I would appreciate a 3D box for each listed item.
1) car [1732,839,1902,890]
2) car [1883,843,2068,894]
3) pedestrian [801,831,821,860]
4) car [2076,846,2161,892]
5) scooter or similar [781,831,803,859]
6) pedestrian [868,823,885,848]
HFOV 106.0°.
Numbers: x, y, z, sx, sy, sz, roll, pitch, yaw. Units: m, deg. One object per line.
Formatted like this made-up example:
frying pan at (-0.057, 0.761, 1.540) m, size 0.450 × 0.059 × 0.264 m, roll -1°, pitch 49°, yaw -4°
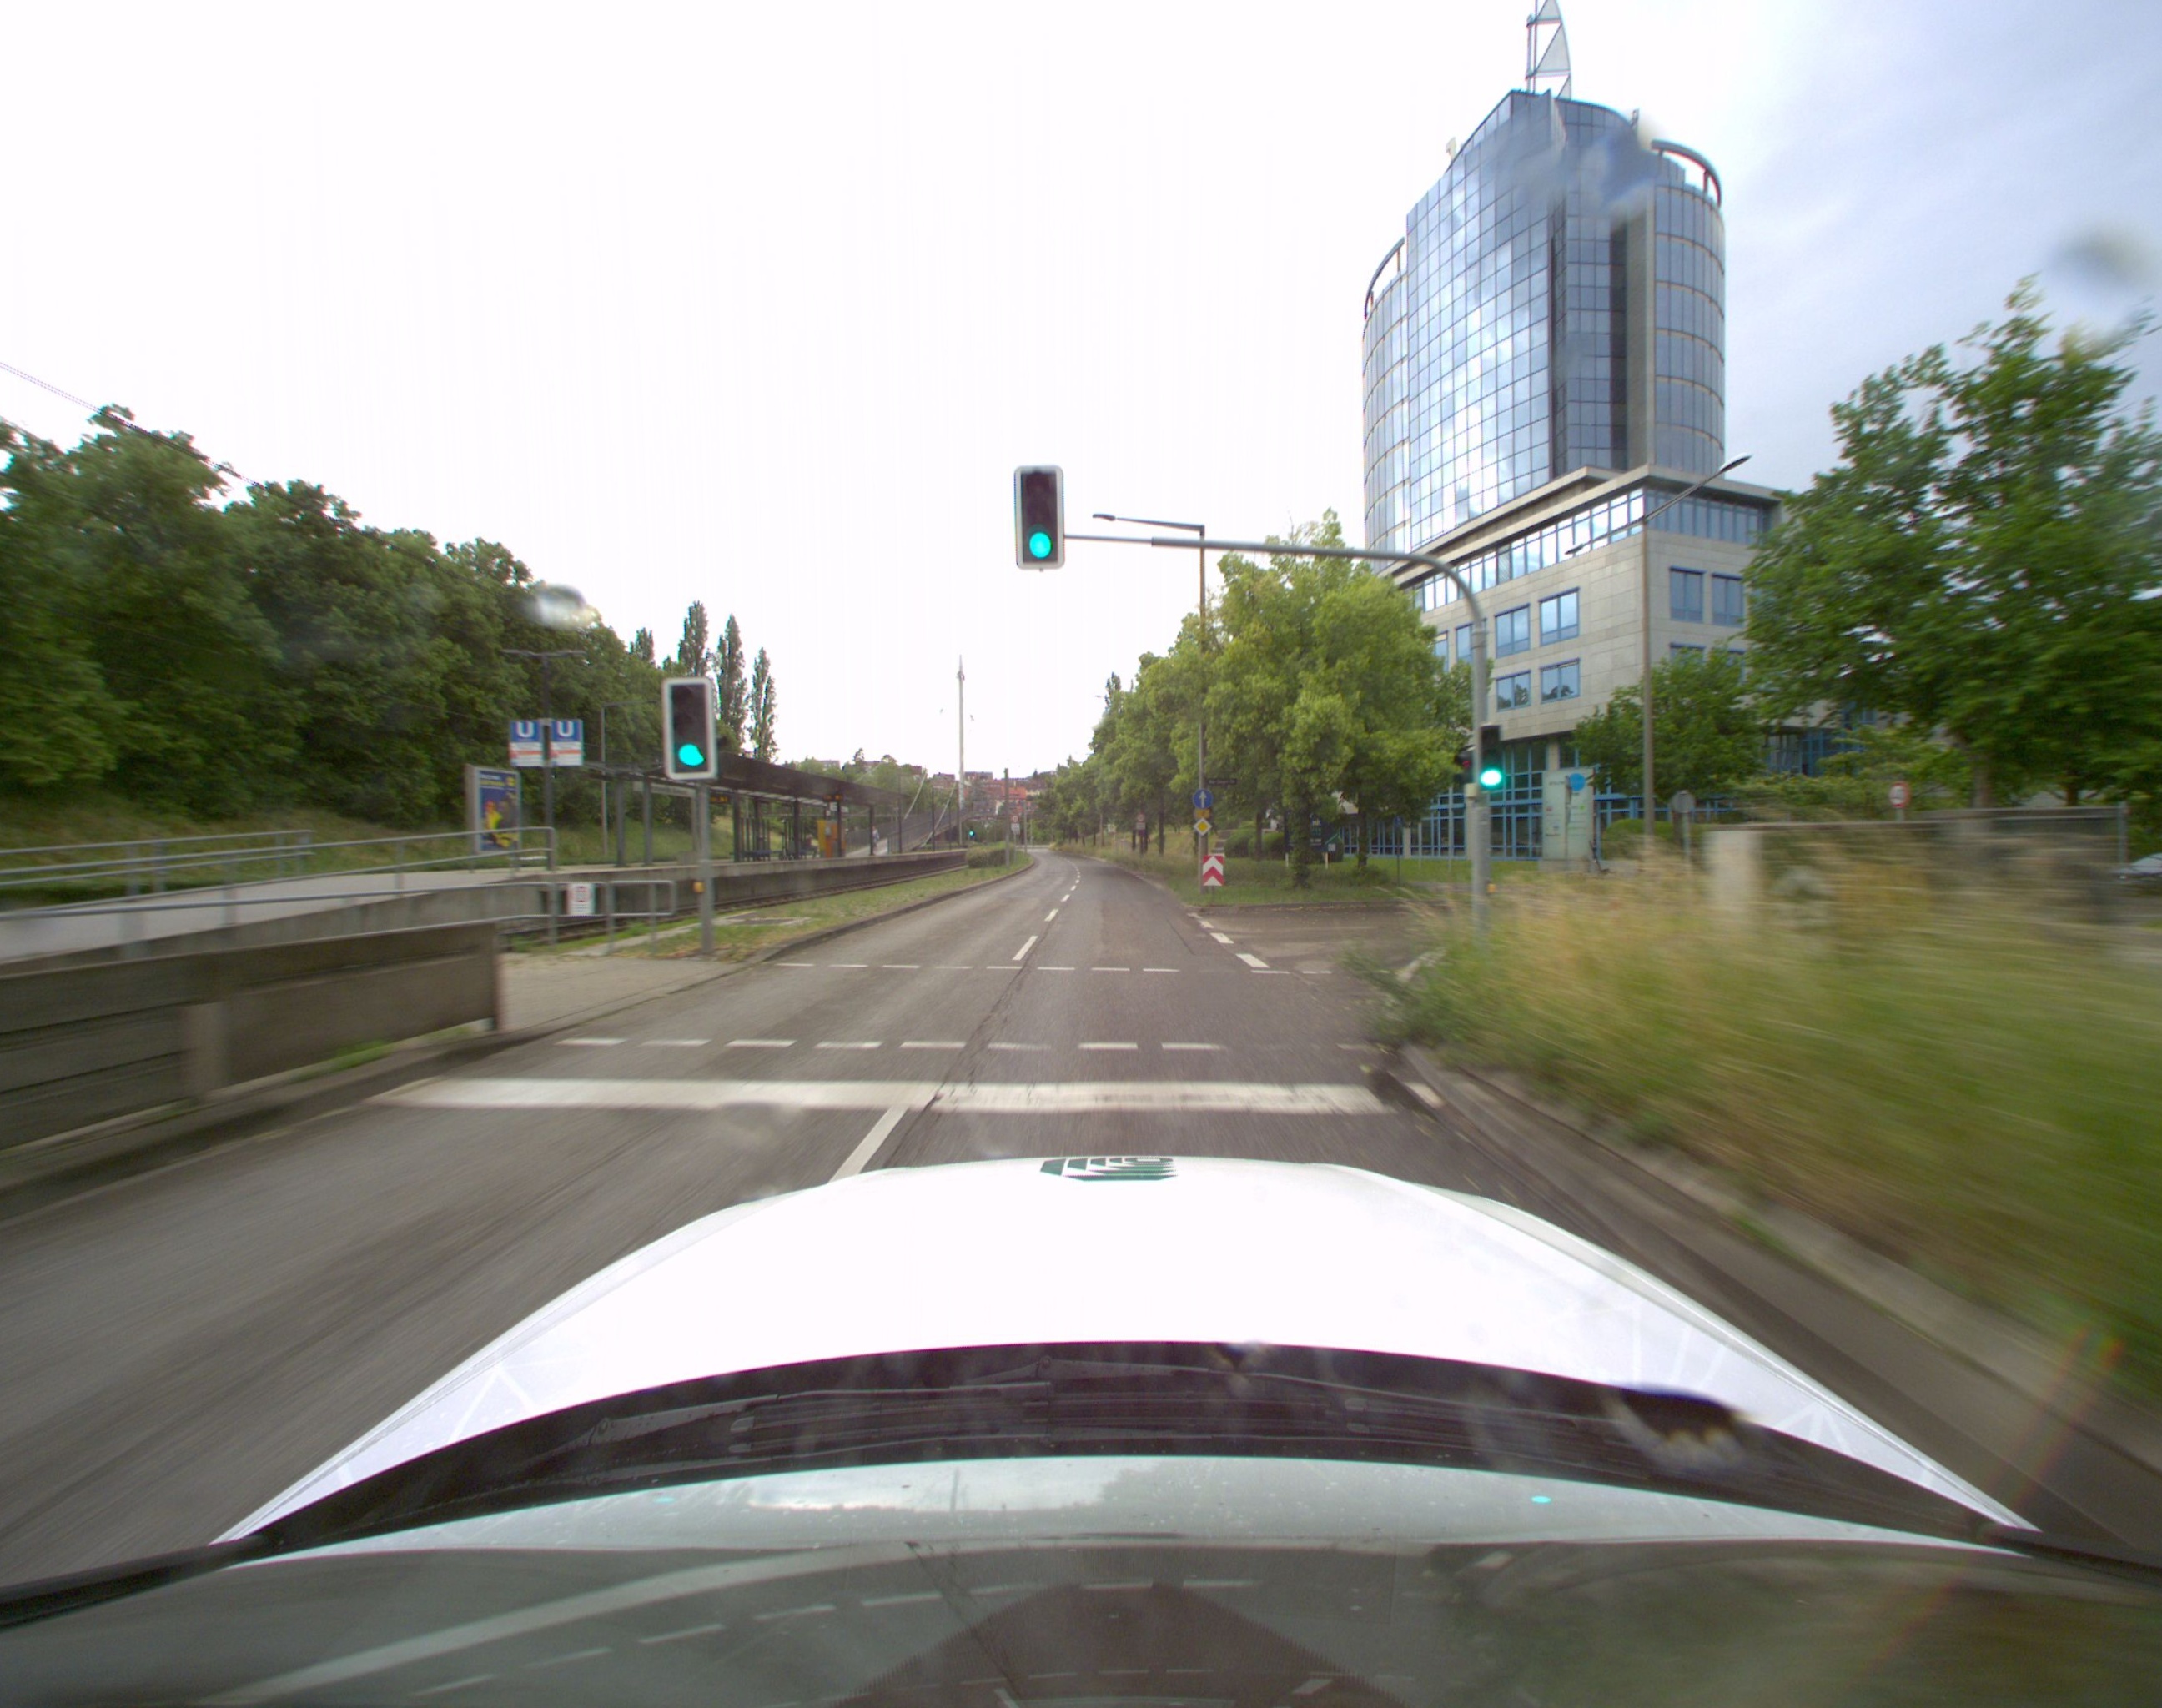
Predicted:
car at (25.079, 0.342, 27.889) m, size 4.076 × 1.641 × 1.761 m, roll 0°, pitch 2°, yaw 6°
car at (30.150, 0.467, 27.572) m, size 4.076 × 1.578 × 1.761 m, roll 0°, pitch 2°, yaw 6°
pedestrian at (-12.823, -0.407, 38.653) m, size 0.751 × 1.355 × 0.691 m, roll 0°, pitch 0°, yaw -3°
car at (37.689, 0.504, 28.432) m, size 4.090 × 1.433 × 1.755 m, roll -1°, pitch 2°, yaw -5°
scooter or similar at (-12.554, -0.385, 35.371) m, size 1.284 × 1.218 × 0.382 m, roll 1°, pitch -1°, yaw 45°
pedestrian at (-13.744, -1.239, 54.703) m, size 0.933 × 1.611 × 1.026 m, roll 0°, pitch 0°, yaw -3°
